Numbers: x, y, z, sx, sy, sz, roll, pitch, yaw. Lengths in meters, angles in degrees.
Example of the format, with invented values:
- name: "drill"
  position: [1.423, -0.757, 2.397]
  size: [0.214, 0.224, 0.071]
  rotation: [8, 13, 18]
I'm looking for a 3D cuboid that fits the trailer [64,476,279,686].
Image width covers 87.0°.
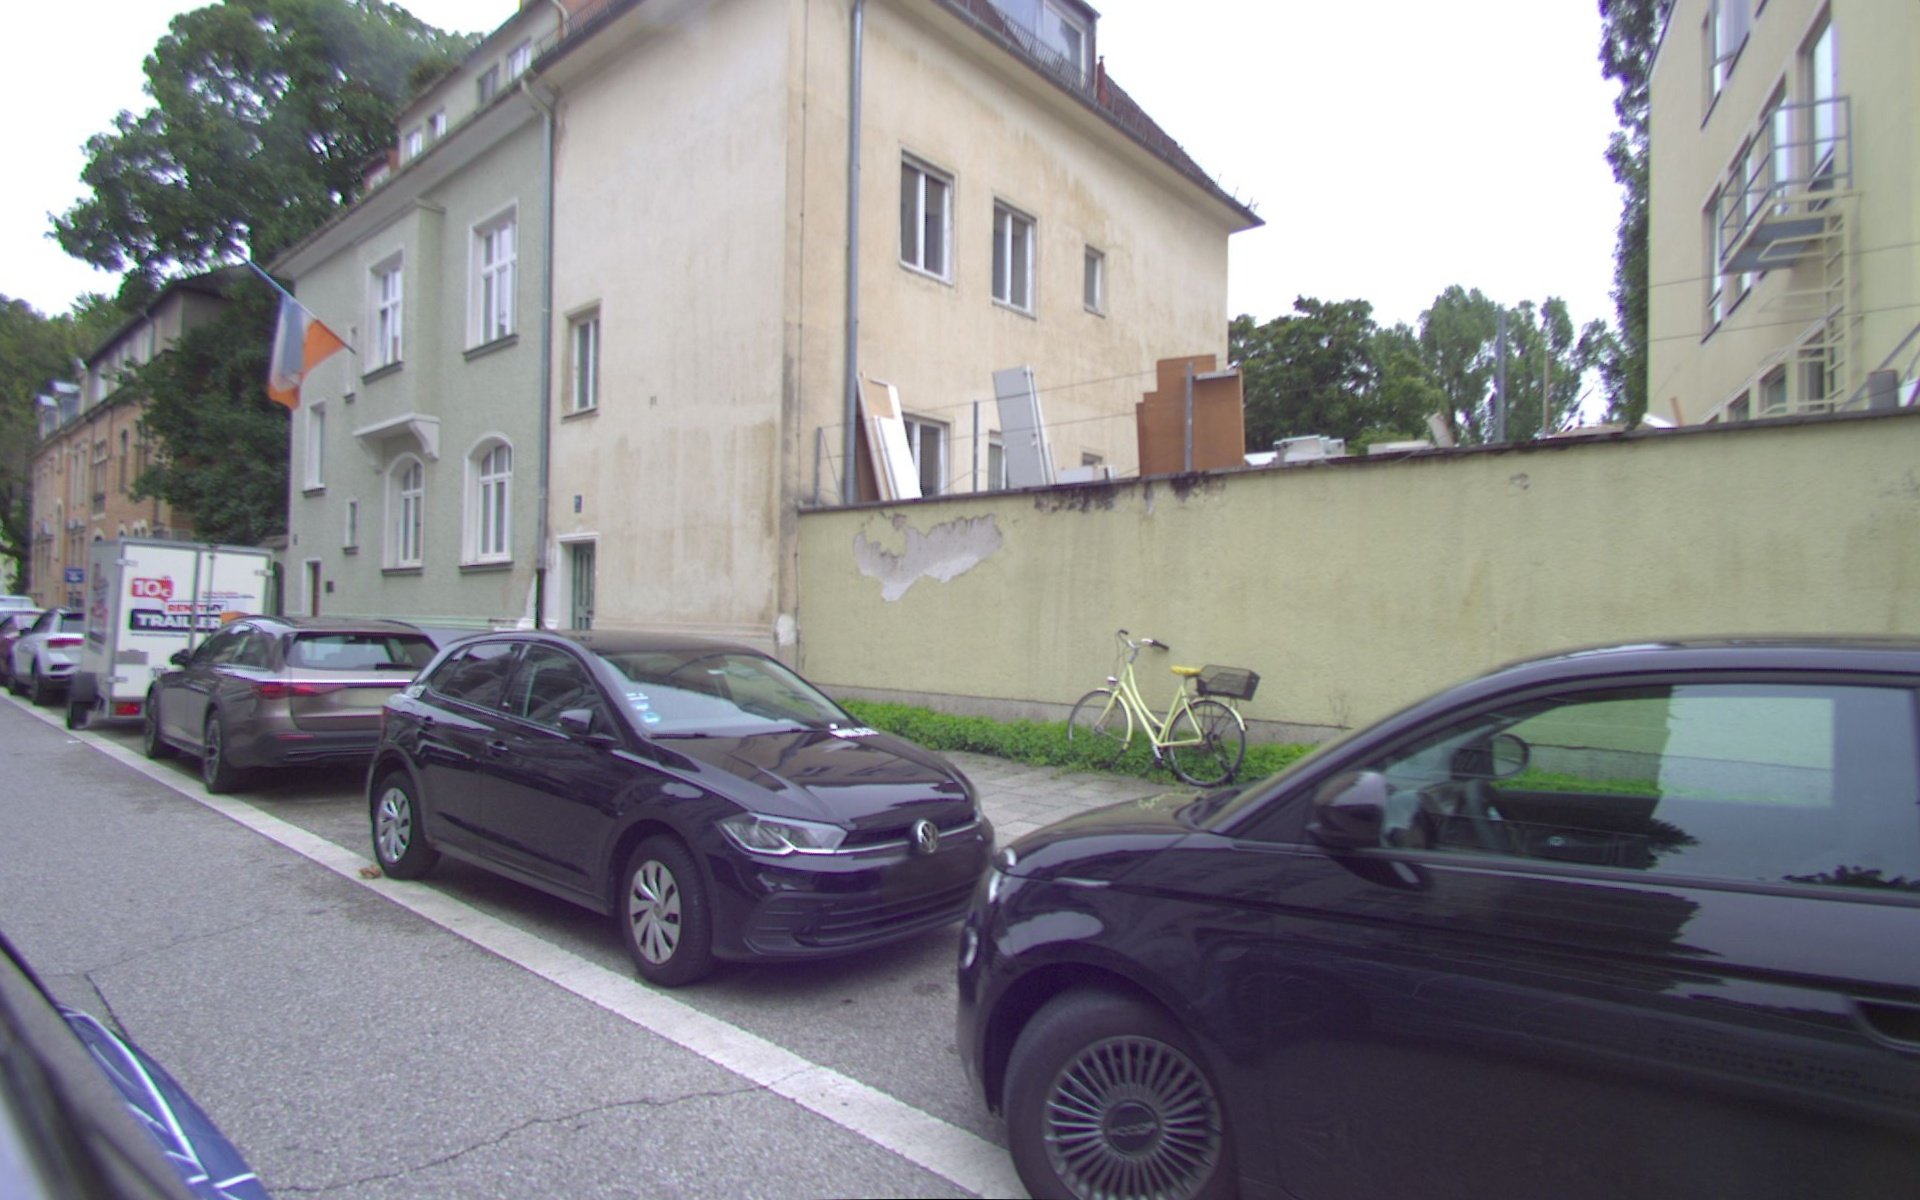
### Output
- name: "trailer"
  position: [-11.043, -0.170, 14.049]
  size: [4.388, 2.480, 1.690]
  rotation: [-1, -3, 45]

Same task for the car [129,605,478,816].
- name: "car"
  position: [-6.484, 0.874, 9.760]
  size: [4.541, 1.550, 1.747]
  rotation: [0, -3, 43]

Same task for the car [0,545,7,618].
- name: "car"
  position: [-35.357, -0.681, 35.711]
  size: [5.221, 2.497, 1.961]
  rotation: [0, -3, 41]

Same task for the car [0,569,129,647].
- name: "car"
  position: [-18.898, 0.150, 20.854]
  size: [4.329, 1.423, 1.842]
  rotation: [1, -2, 39]

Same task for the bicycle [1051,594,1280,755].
- name: "bicycle"
  position: [1.664, 0.565, 8.406]
  size: [1.777, 1.201, 0.670]
  rotation: [-1, -1, 43]

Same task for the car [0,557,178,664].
- name: "car"
  position: [-14.870, 0.161, 17.202]
  size: [3.919, 1.615, 1.669]
  rotation: [1, -2, 41]

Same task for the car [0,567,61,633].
- name: "car"
  position: [-22.916, 0.012, 24.306]
  size: [3.310, 1.478, 1.458]
  rotation: [0, -2, 40]

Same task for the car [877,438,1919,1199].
- name: "car"
  position: [1.662, 0.522, 2.327]
  size: [3.537, 1.550, 1.571]
  rotation: [1, 1, 36]

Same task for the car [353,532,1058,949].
- name: "car"
  position: [-1.543, 0.510, 5.412]
  size: [3.820, 1.457, 1.684]
  rotation: [0, -1, 39]

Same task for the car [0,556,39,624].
- name: "car"
  position: [-27.604, -0.290, 28.646]
  size: [4.142, 1.817, 1.673]
  rotation: [0, -3, 40]
